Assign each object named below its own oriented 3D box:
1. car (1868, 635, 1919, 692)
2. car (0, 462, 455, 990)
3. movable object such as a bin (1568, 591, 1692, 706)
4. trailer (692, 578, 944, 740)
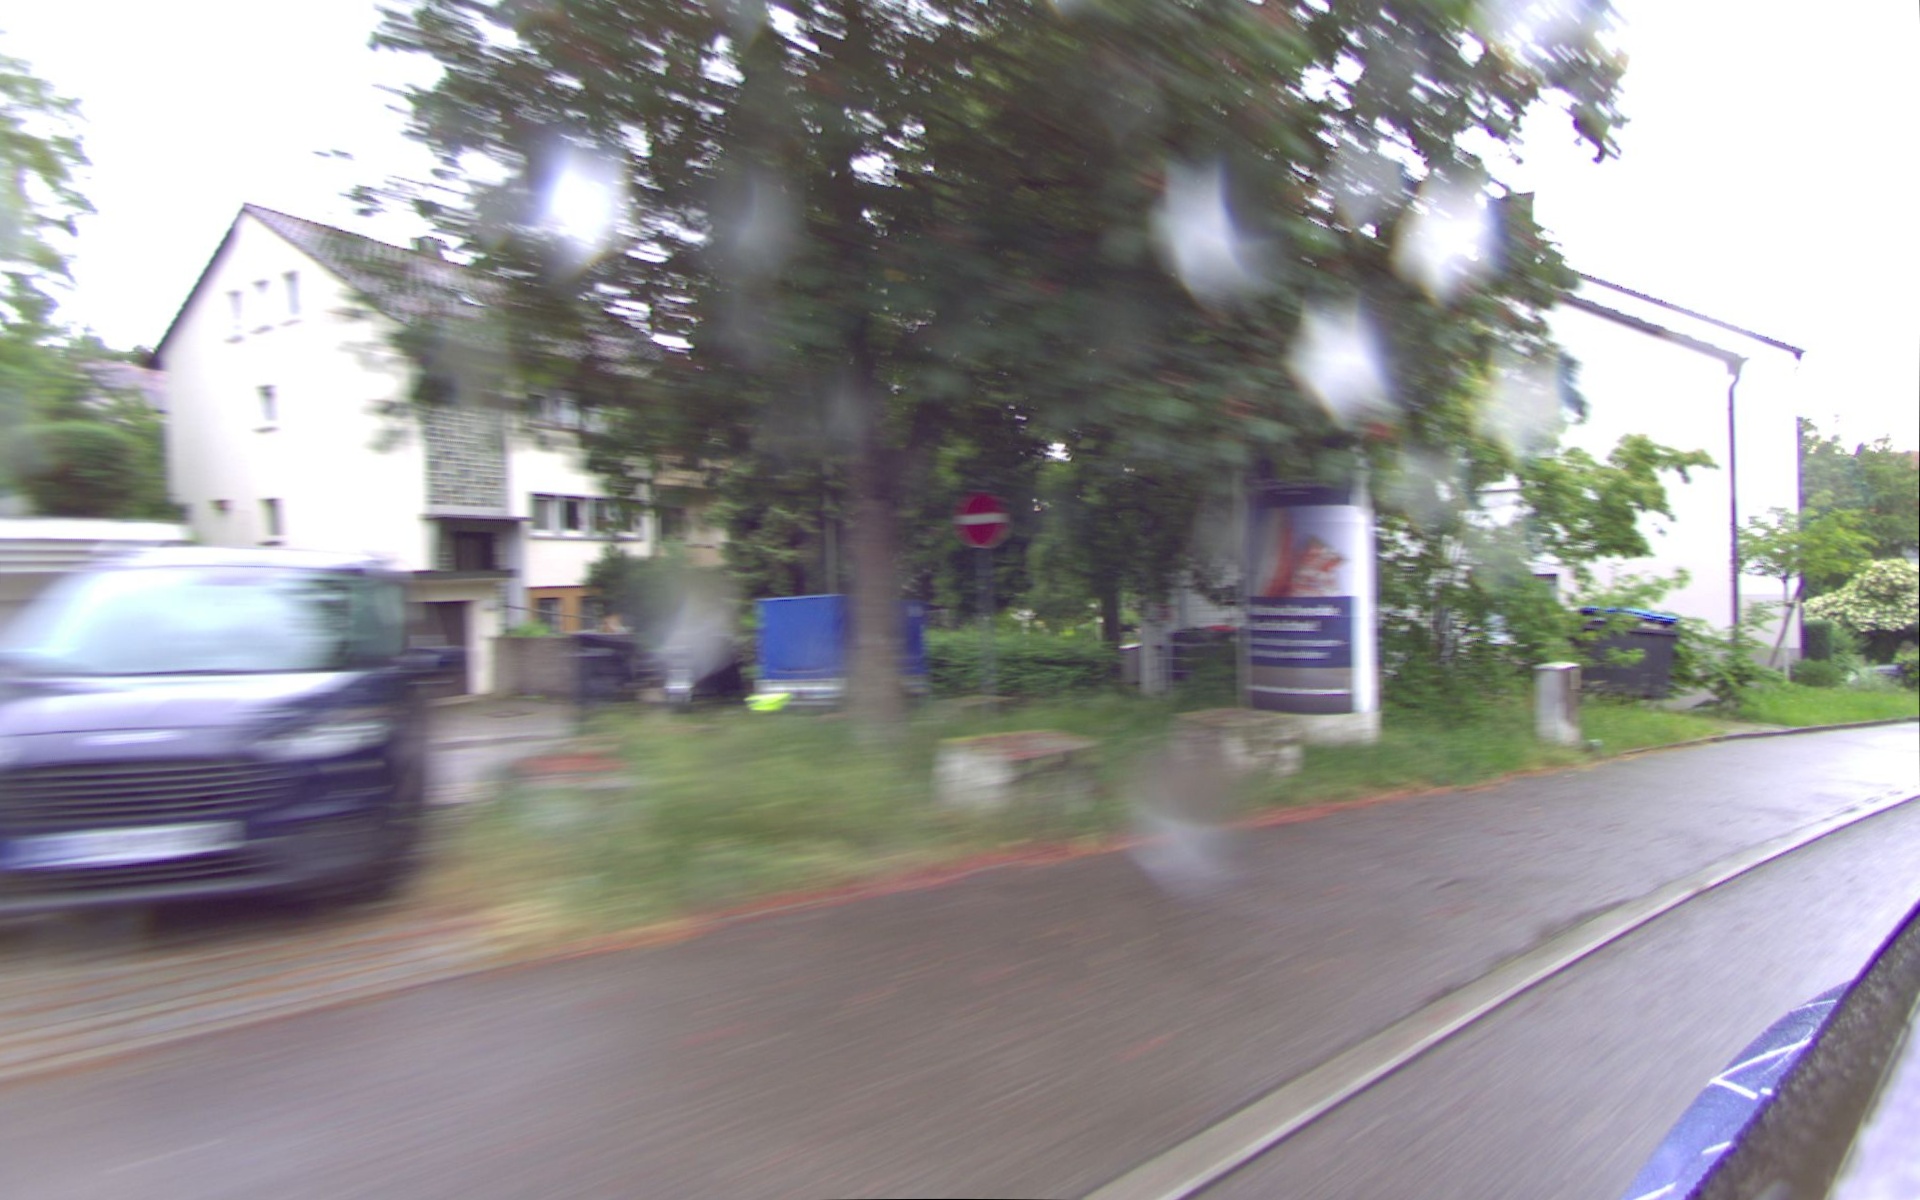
[{"bbox_3d":[30.994,2.057,31.006,1.824,1.681,4.533,4,-1,-42],"label":"car"},{"bbox_3d":[-3.765,0.467,5.464,1.693,1.738,4.352,0,-1,-24],"label":"car"},{"bbox_3d":[9.554,0.663,14.486,1.229,1.516,0.976,2,0,20],"label":"movable object such as a bin"},{"bbox_3d":[-1.749,0.712,13.420,1.748,1.846,3.250,0,-2,27],"label":"trailer"}]
